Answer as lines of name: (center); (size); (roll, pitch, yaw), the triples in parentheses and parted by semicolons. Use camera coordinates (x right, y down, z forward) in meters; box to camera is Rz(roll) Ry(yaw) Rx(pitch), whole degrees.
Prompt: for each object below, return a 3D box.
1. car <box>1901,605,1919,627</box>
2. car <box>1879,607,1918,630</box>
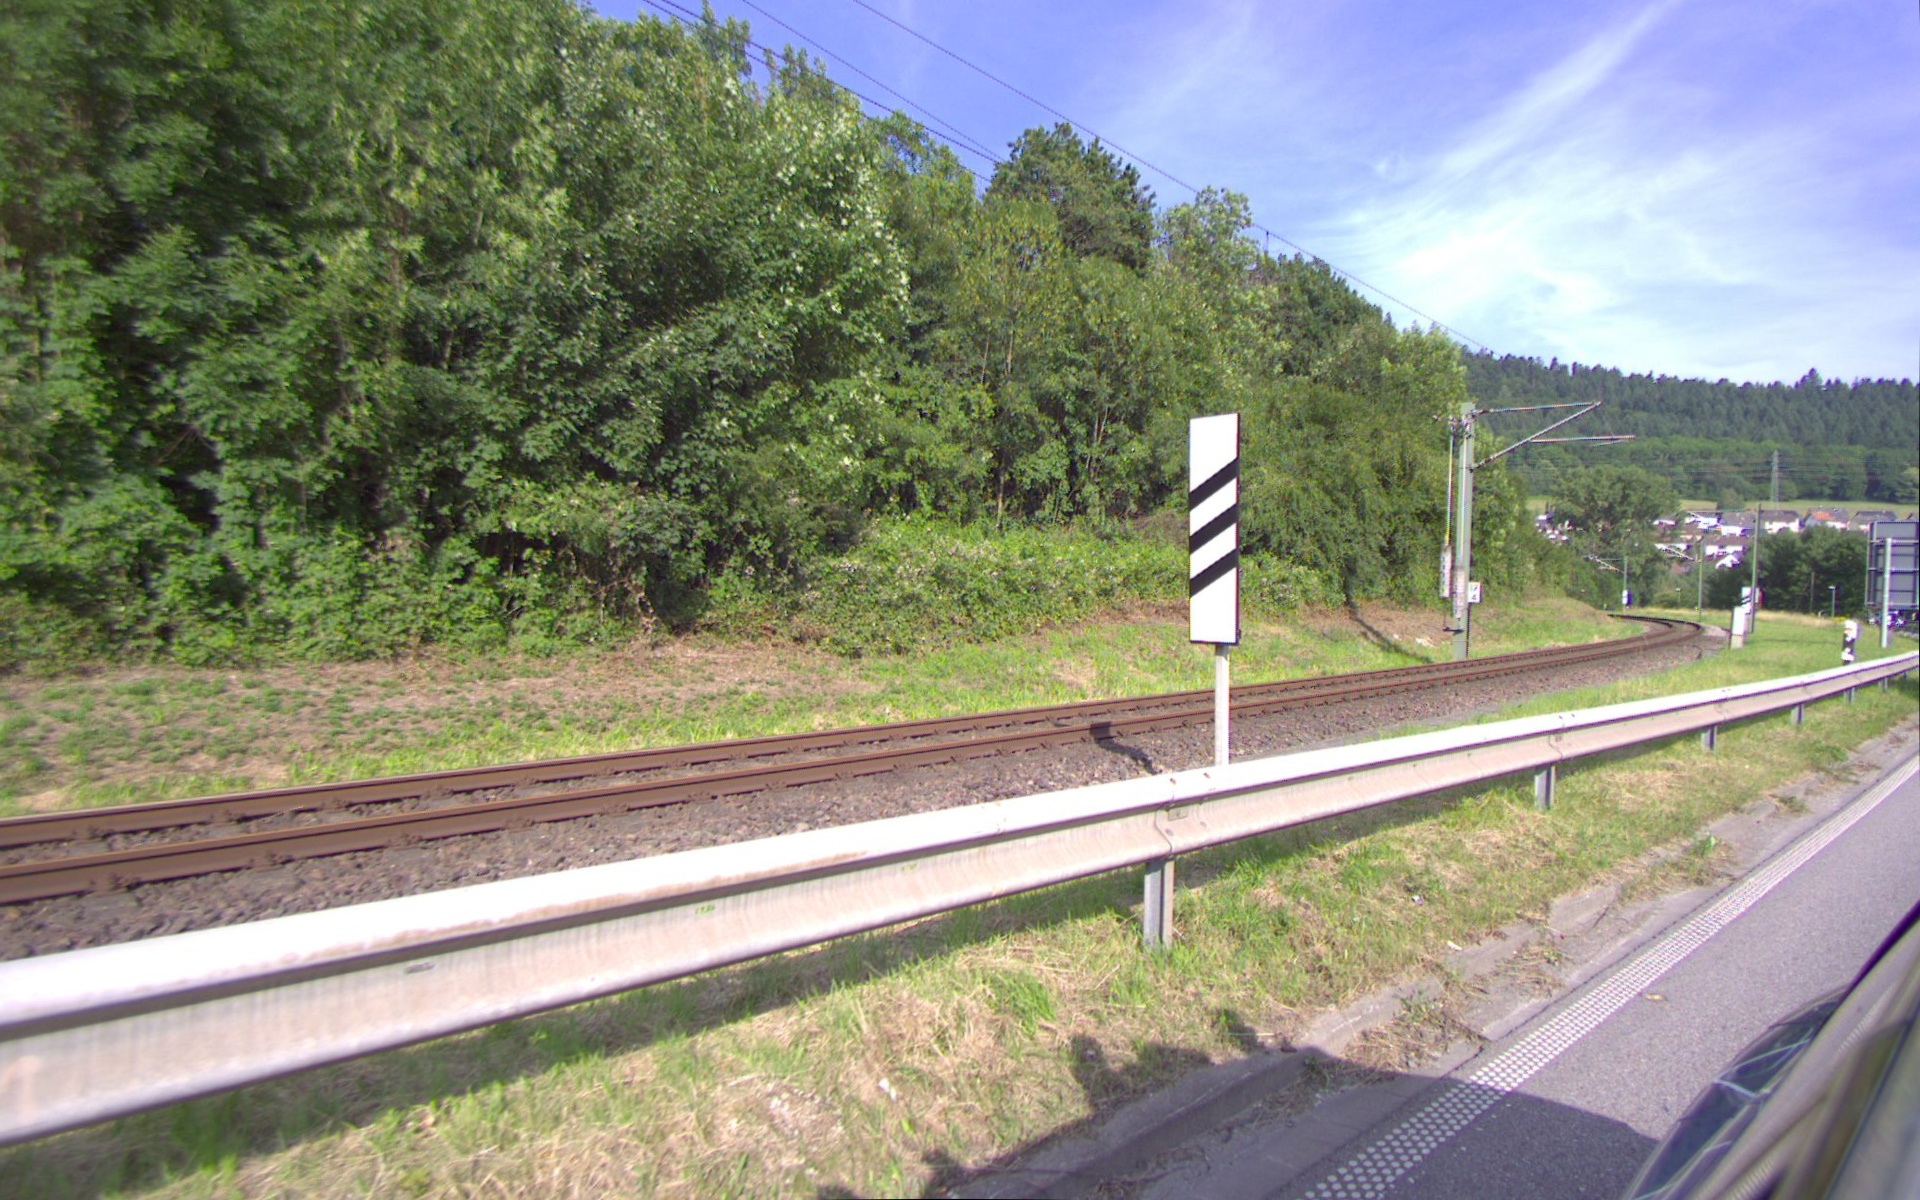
car: (71.630, 1.185, 75.418); (1.865, 1.613, 3.995); (1, 0, 38)
car: (87.547, 1.726, 94.435); (1.985, 2.039, 3.954); (0, 0, 32)
